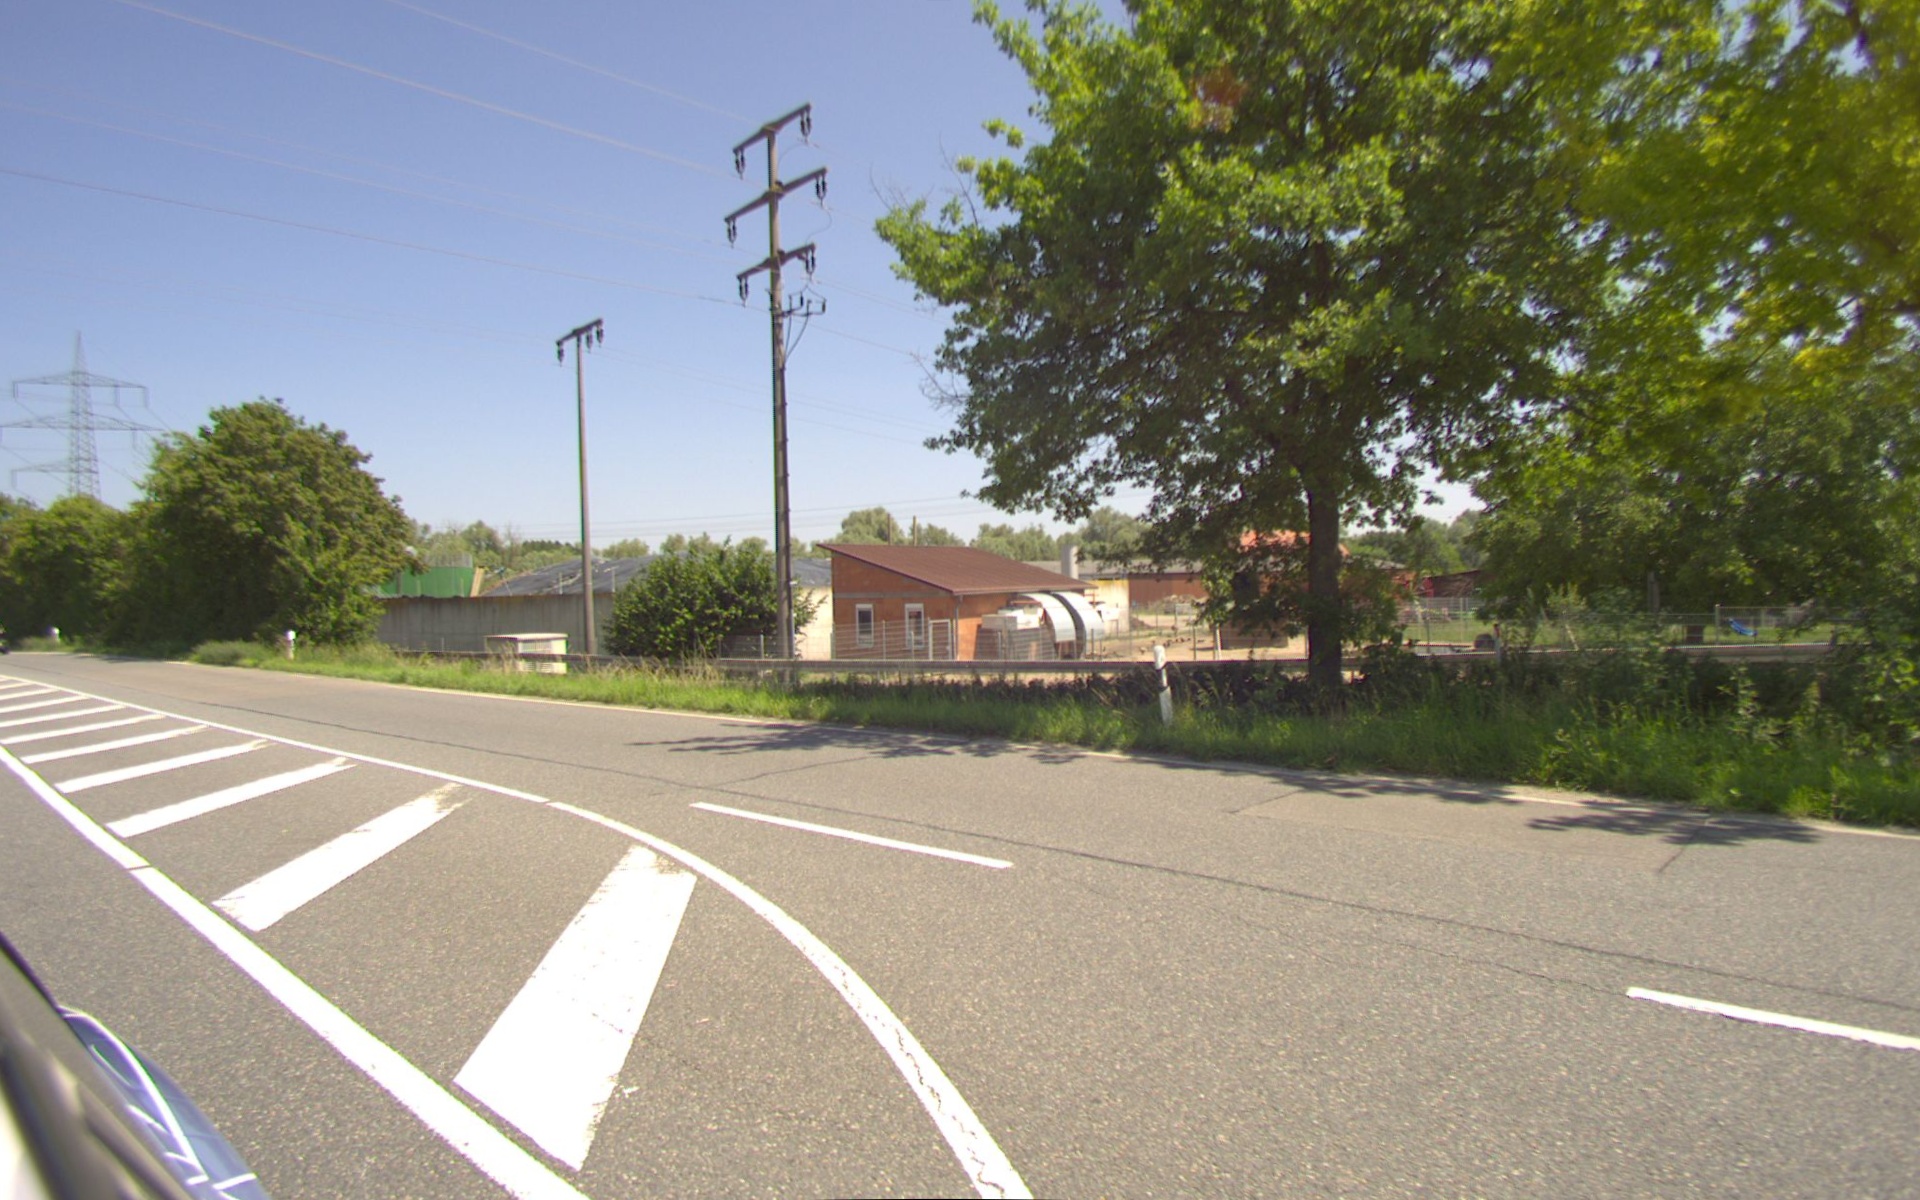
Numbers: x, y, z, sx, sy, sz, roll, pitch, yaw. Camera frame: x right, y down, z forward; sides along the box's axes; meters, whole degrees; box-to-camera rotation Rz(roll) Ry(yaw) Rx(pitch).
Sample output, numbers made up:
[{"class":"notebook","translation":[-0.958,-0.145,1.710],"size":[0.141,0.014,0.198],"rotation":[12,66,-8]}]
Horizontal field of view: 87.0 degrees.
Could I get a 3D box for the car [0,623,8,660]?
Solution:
[{"class":"car","translation":[-43.987,1.908,45.083],"size":[3.953,1.602,1.716],"rotation":[-1,2,39]}]
